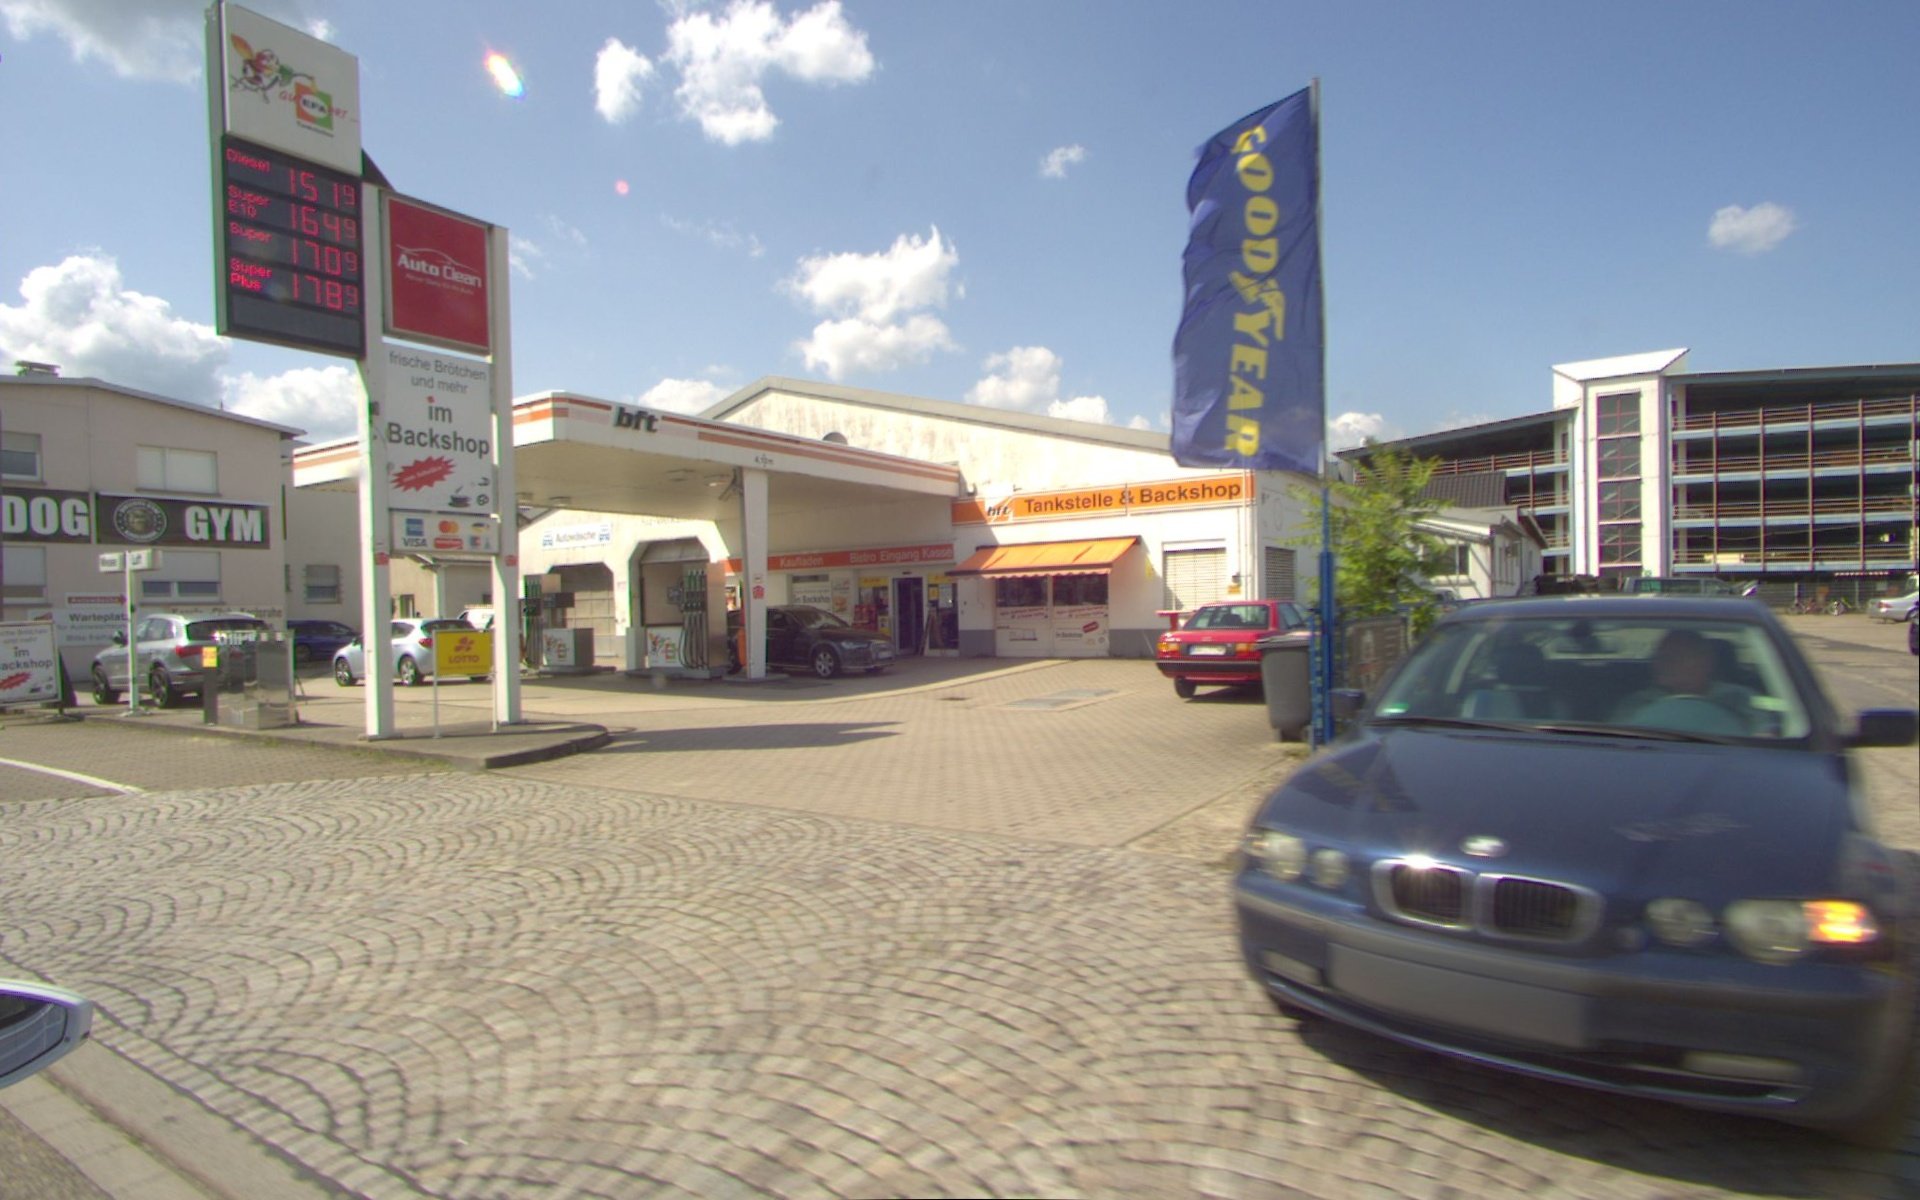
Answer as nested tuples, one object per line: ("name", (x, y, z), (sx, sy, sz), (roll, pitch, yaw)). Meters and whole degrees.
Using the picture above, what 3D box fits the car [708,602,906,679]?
("car", (-3.481, 0.844, 22.467), (4.430, 1.540, 1.678), (0, 1, 34))

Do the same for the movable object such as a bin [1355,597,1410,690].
("movable object such as a bin", (6.572, 0.659, 15.559), (0.696, 1.409, 0.579), (-1, 1, 32))

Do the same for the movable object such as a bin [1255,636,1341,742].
("movable object such as a bin", (3.426, 0.883, 10.136), (0.697, 1.023, 0.579), (-2, -2, 32))

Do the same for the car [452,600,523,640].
("car", (-25.782, 1.137, 54.612), (3.792, 2.057, 1.783), (-2, -2, 34))

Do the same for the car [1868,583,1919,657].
("car", (19.245, 0.382, 19.116), (3.617, 1.370, 1.632), (1, -1, -26))

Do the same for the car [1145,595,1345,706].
("car", (4.555, 0.702, 15.589), (1.748, 1.443, 4.122), (-2, 0, 34))

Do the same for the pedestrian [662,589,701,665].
("pedestrian", (-6.593, 0.648, 23.700), (0.677, 1.744, 0.616), (-2, -2, 34))

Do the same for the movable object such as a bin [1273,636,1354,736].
("movable object such as a bin", (3.801, 0.906, 10.760), (0.697, 1.023, 0.579), (-2, -2, 32))

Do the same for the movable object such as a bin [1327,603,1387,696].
("movable object such as a bin", (5.771, 0.713, 14.548), (0.697, 1.313, 0.579), (-2, -2, 32))

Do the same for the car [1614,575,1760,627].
("car", (31.491, 0.084, 43.578), (4.872, 2.039, 1.964), (-2, -2, 29))

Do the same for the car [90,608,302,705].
("car", (-14.580, 1.024, 19.038), (4.554, 1.646, 1.940), (-2, -2, 35))

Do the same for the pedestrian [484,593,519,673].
("pedestrian", (-10.509, 0.768, 22.945), (0.569, 1.799, 0.496), (-1, -2, 31))

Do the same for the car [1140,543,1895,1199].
("car", (2.474, 0.670, 3.974), (1.629, 1.426, 4.034), (-2, -2, 41))

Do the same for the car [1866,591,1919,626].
("car", (37.767, 0.331, 38.738), (3.746, 1.361, 1.535), (-1, -1, 29))

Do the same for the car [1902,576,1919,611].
("car", (40.045, -0.260, 40.136), (3.102, 1.394, 1.375), (-1, -1, 32))

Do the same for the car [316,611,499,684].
("car", (-12.720, 1.079, 22.984), (4.359, 1.490, 1.688), (-2, 0, 31))
